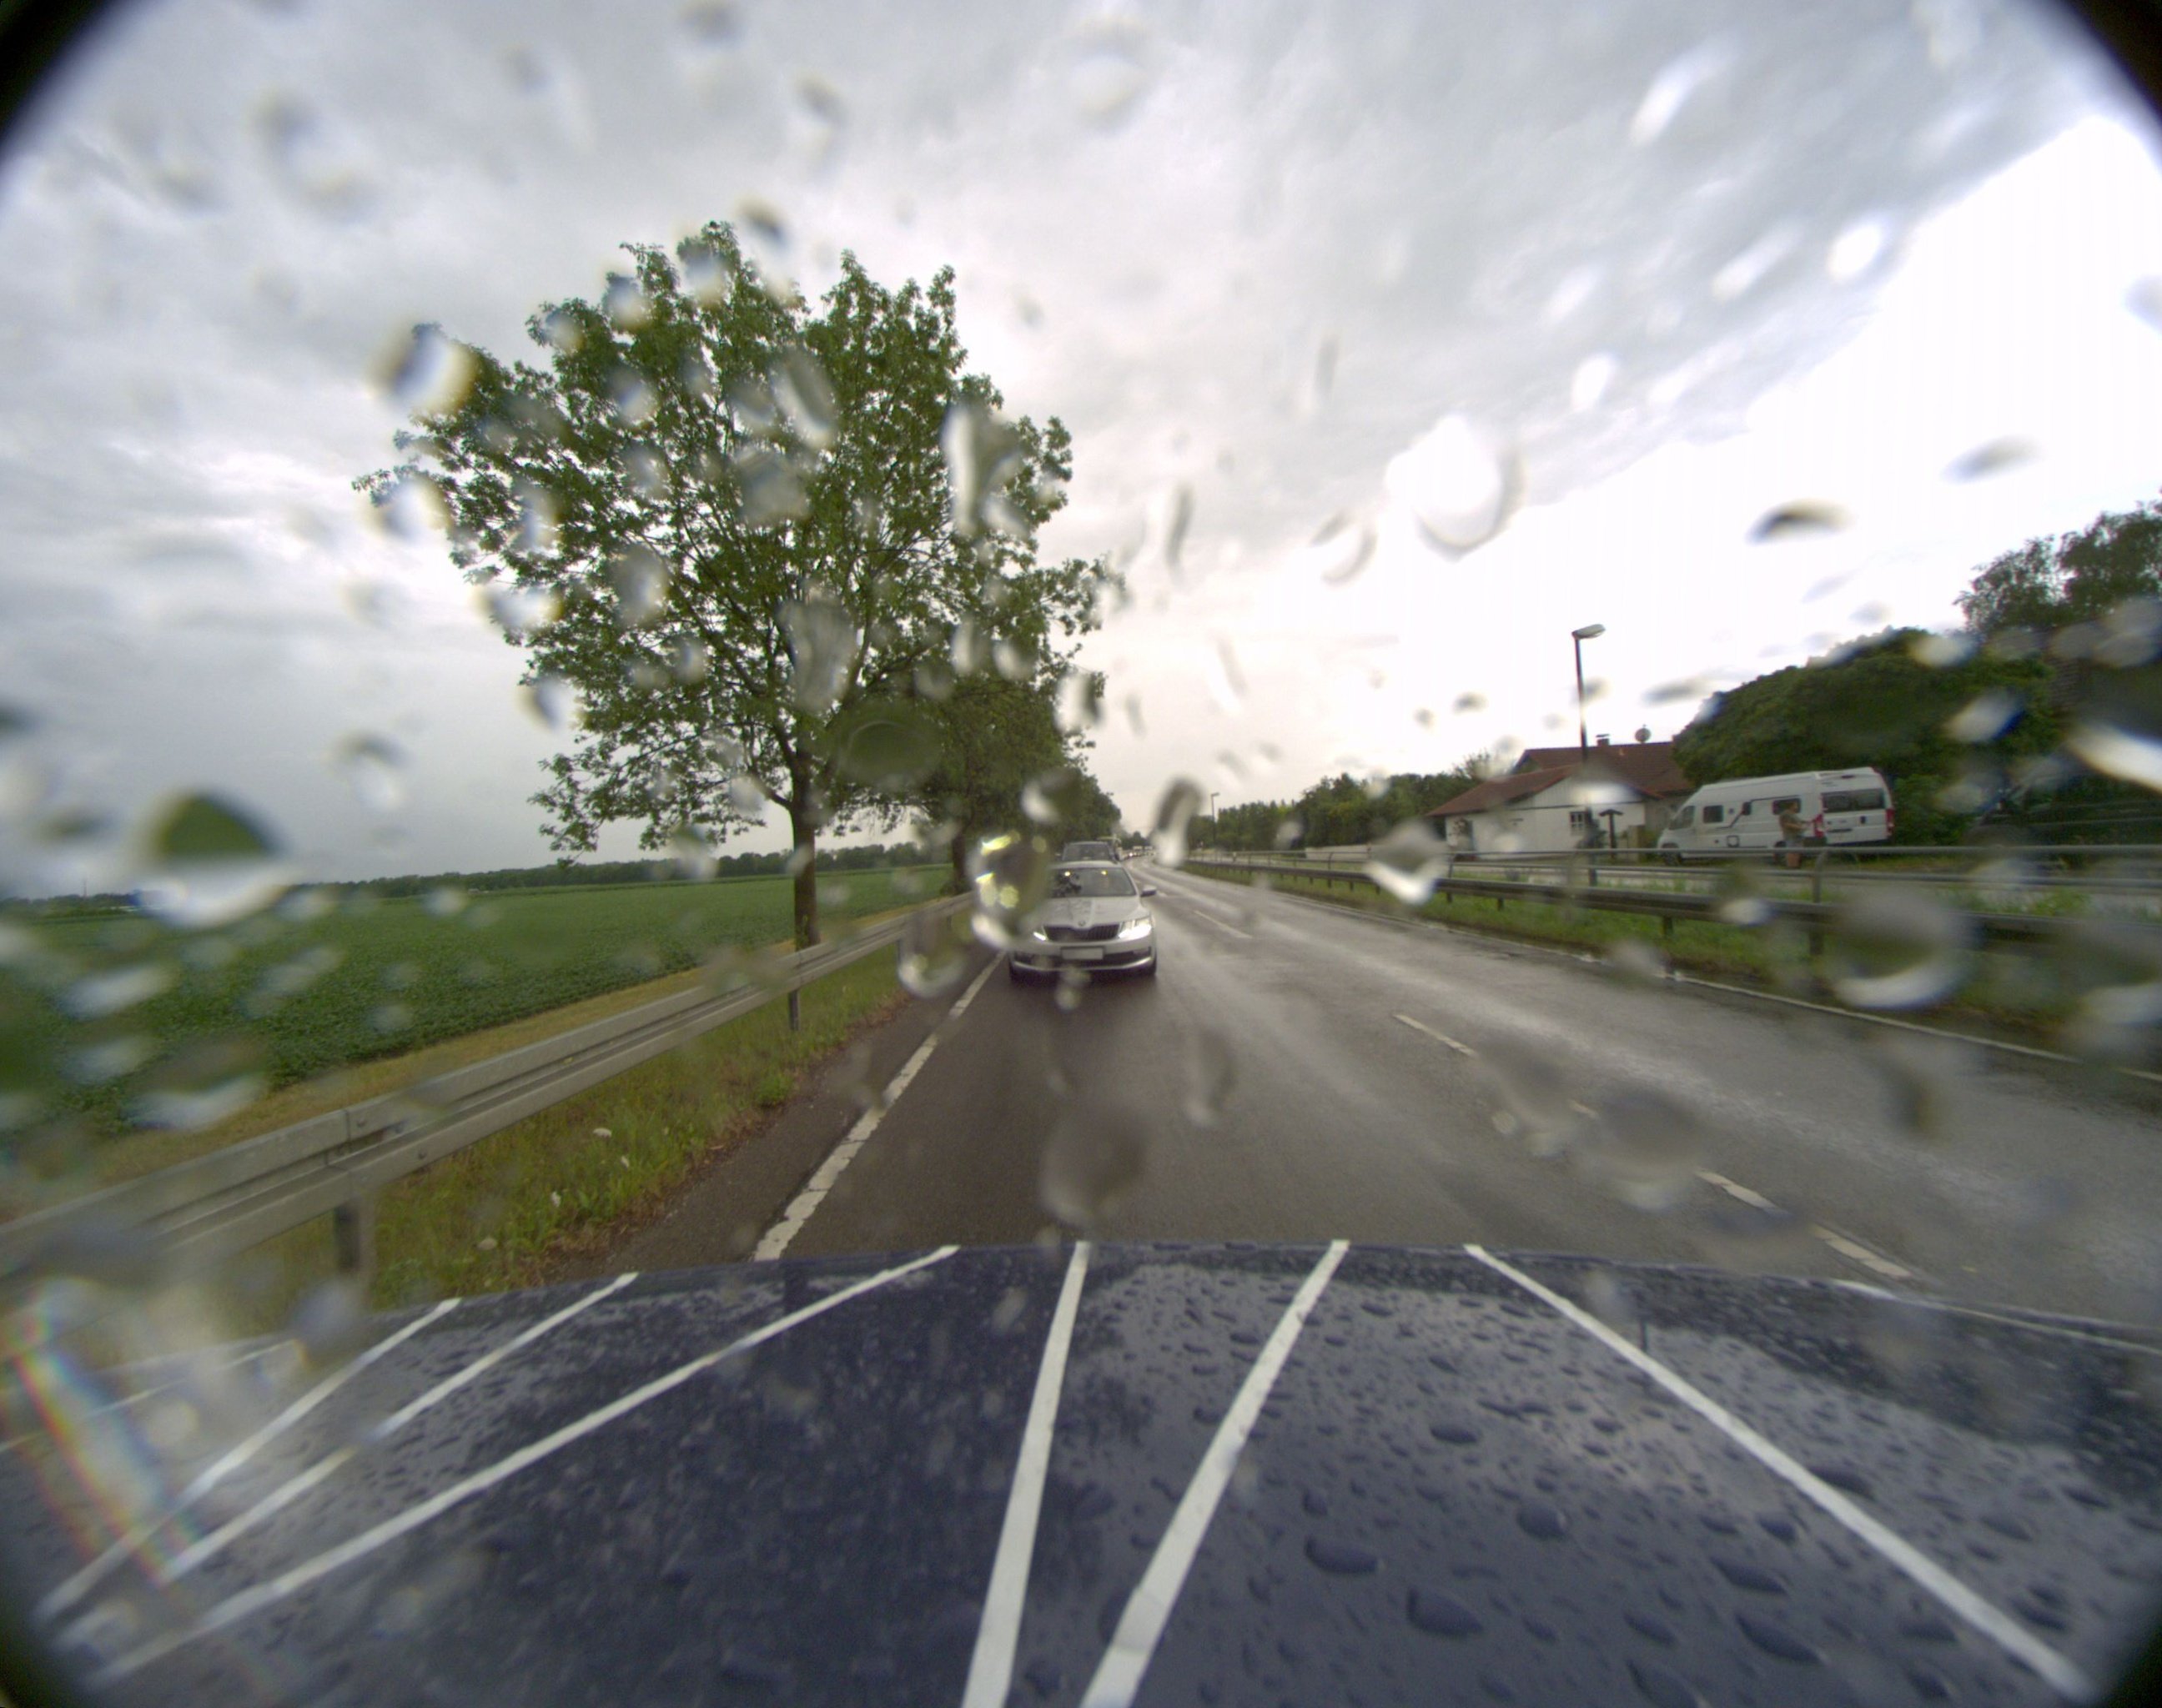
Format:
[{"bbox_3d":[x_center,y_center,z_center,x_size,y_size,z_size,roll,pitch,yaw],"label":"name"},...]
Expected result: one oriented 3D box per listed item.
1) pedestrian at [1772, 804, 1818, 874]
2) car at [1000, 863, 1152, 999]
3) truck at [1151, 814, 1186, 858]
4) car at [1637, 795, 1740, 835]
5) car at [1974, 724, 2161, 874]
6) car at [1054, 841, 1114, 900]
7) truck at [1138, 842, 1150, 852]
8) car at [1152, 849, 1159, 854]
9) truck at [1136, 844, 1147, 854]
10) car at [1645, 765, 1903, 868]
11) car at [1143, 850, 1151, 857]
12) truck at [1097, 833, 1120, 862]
[{"bbox_3d":[18.020,-0.381,19.192,0.516,1.701,0.650,-3,1,8],"label":"pedestrian"},{"bbox_3d":[-0.072,0.902,10.658,1.705,1.438,3.999,-1,0,0],"label":"car"},{"bbox_3d":[10.567,-2.141,92.924,3.256,5.004,7.783,-4,0,1],"label":"truck"},{"bbox_3d":[24.119,-1.505,30.306,1.452,1.348,3.270,-4,0,1],"label":"car"},{"bbox_3d":[20.992,-1.074,14.009,2.389,2.747,5.572,-4,0,0],"label":"car"},{"bbox_3d":[0.087,0.520,26.799,1.903,1.884,3.999,-1,0,0],"label":"car"},{"bbox_3d":[16.299,-1.898,197.563,2.800,2.461,7.169,-4,0,3],"label":"truck"},{"bbox_3d":[24.027,-0.824,245.970,1.812,1.723,4.026,-4,0,0],"label":"car"},{"bbox_3d":[16.867,-1.428,211.560,2.800,2.461,7.169,-4,0,3],"label":"truck"},{"bbox_3d":[20.601,-1.006,23.145,2.243,2.565,6.019,-4,0,0],"label":"car"},{"bbox_3d":[19.939,-0.201,230.018,1.998,2.002,4.099,-4,0,0],"label":"car"},{"bbox_3d":[3.553,-0.868,100.751,2.751,3.548,8.386,-4,0,1],"label":"truck"}]
